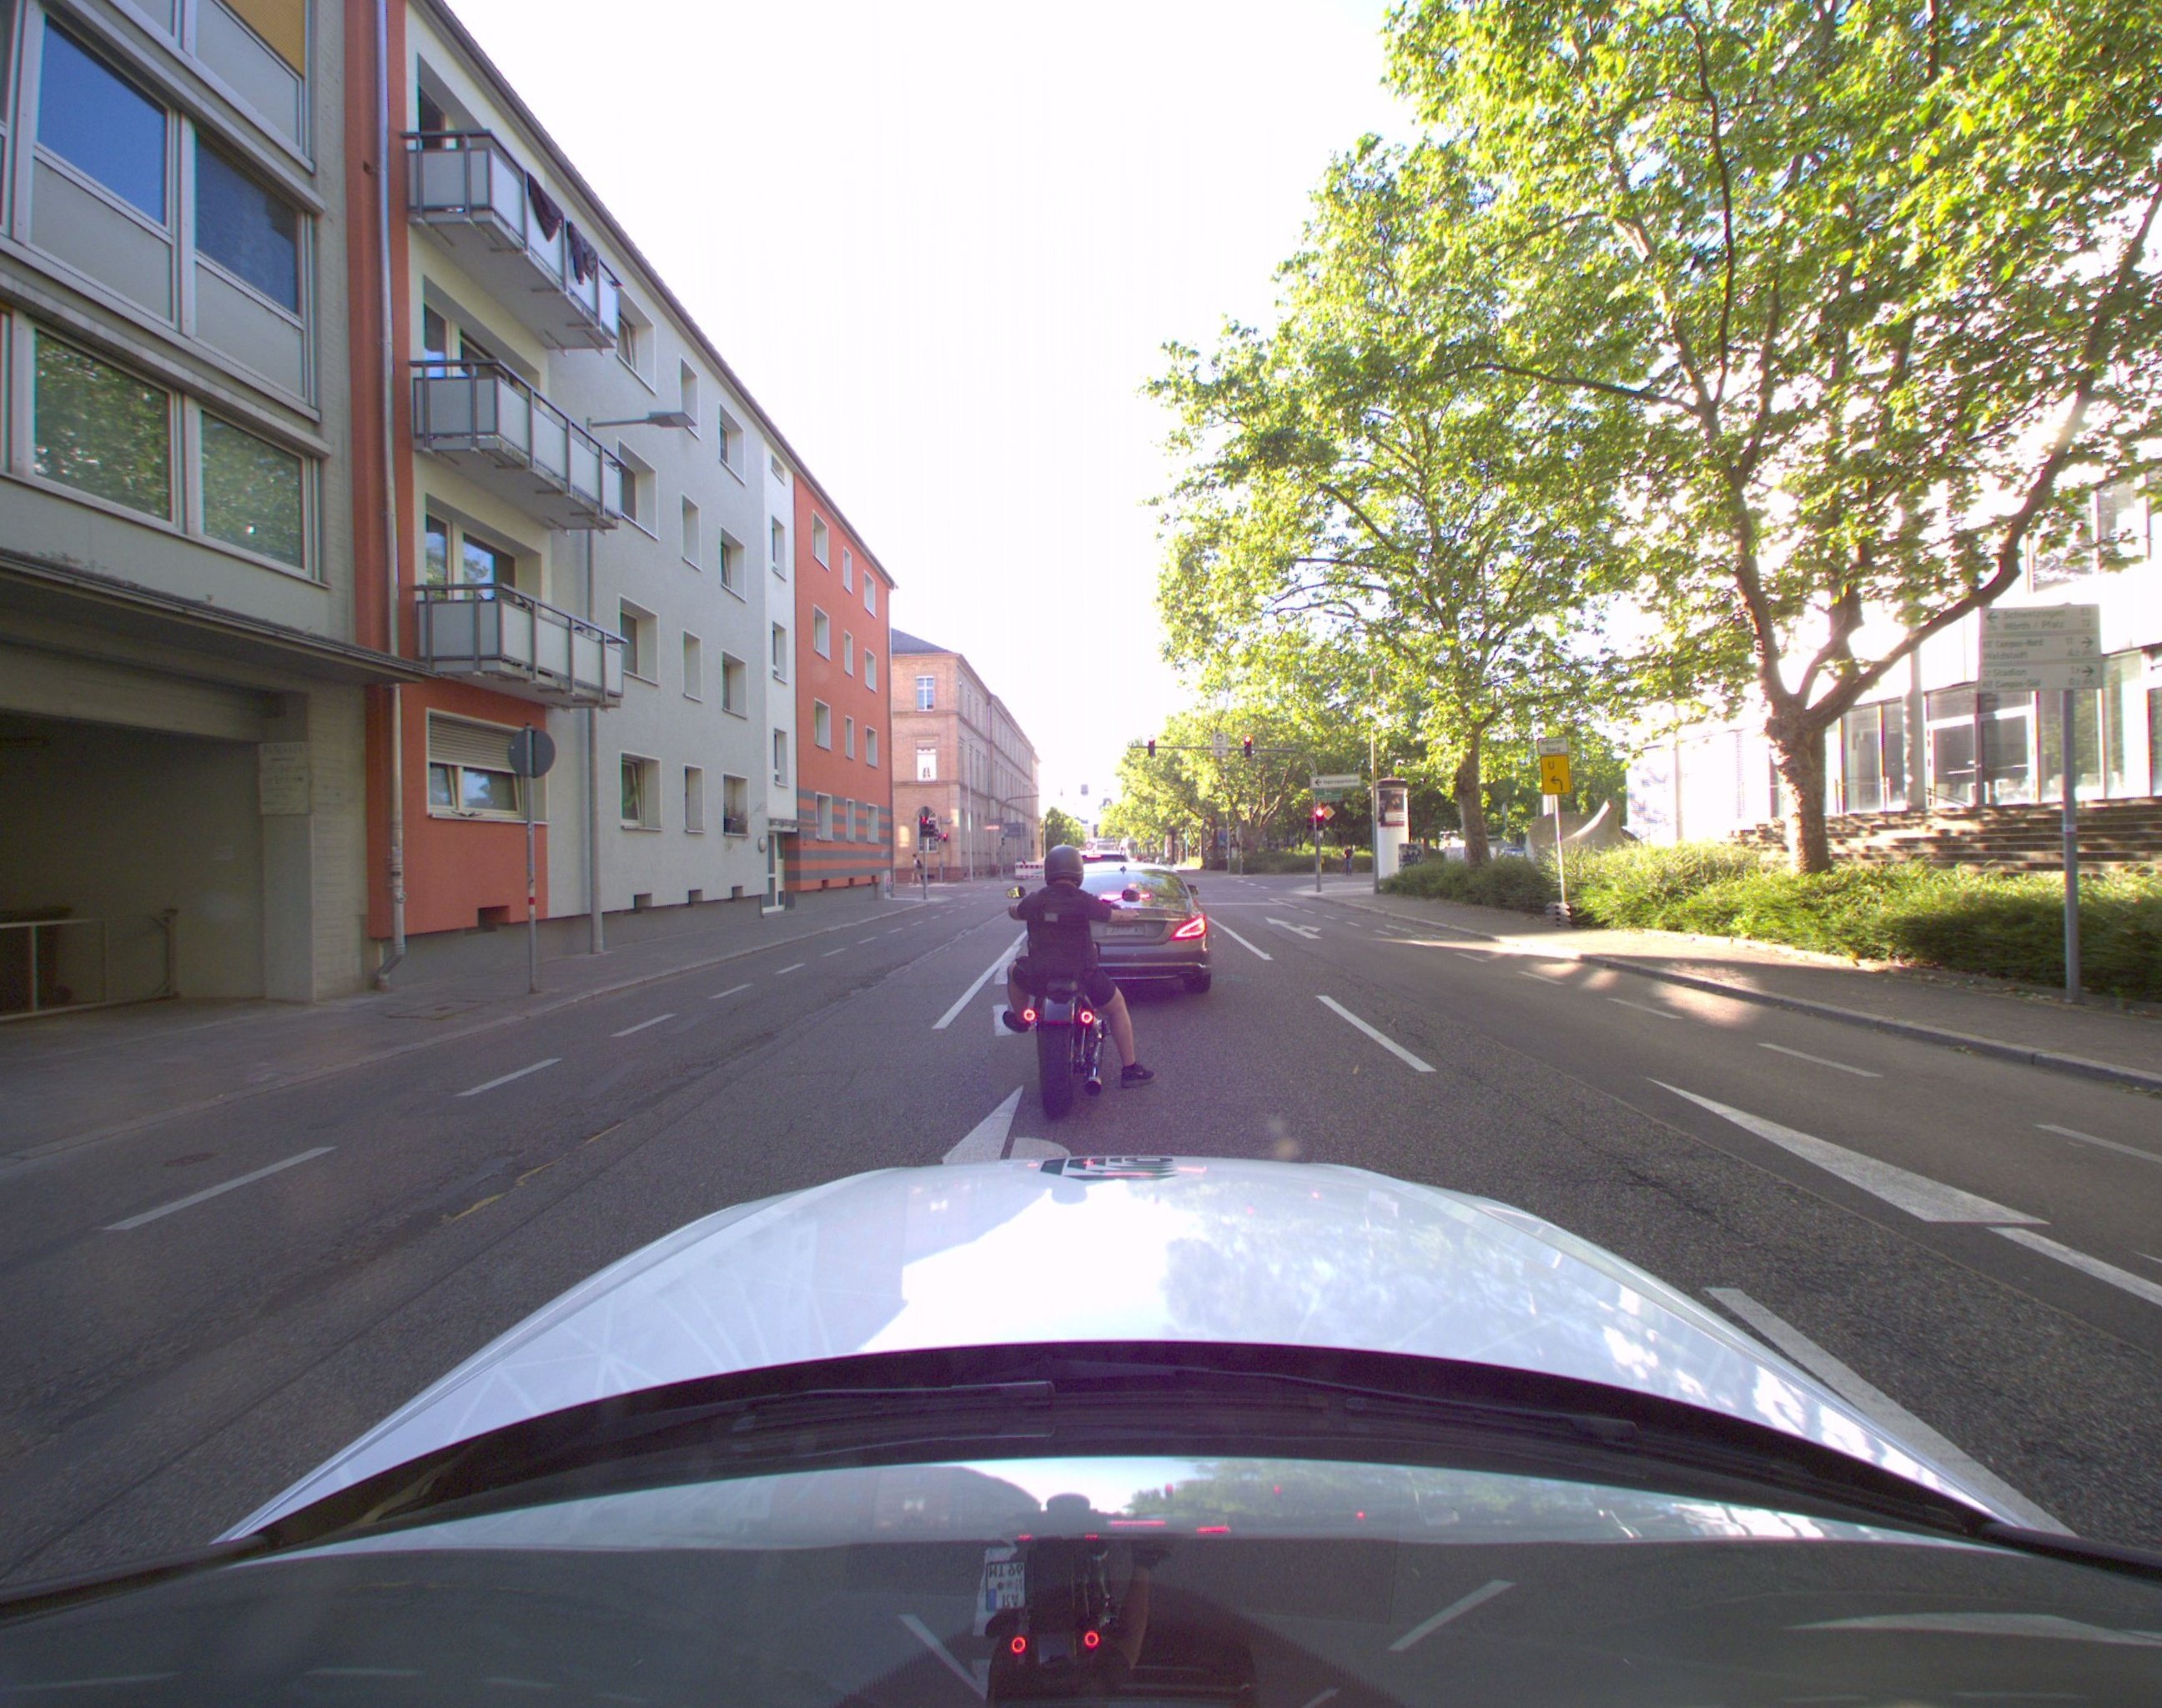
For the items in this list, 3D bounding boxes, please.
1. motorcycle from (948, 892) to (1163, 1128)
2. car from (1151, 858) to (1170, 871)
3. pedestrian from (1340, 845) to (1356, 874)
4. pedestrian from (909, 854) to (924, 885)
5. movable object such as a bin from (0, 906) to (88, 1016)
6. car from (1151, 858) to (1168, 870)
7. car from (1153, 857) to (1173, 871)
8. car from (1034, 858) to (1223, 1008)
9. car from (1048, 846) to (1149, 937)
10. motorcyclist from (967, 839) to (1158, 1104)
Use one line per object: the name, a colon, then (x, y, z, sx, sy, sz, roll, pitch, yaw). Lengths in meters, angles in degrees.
motorcycle: (-0.042, 0.912, 5.640, 1.111, 1.207, 2.217, -1, -1, 8)
car: (7.998, 1.016, 82.418, 1.625, 1.259, 3.717, 0, 0, 2)
pedestrian: (16.187, 0.345, 49.373, 0.728, 1.778, 0.734, -1, -1, 32)
pedestrian: (-9.588, 0.893, 47.438, 0.735, 1.820, 0.644, 0, -1, 1)
movable object such as a bin: (-11.285, 1.117, 8.664, 0.533, 1.079, 0.723, 0, -1, 3)
car: (8.433, 1.055, 87.653, 1.625, 1.259, 3.717, 0, 0, 2)
car: (7.665, 0.942, 76.593, 1.625, 1.259, 3.717, 0, 0, 2)
car: (0.520, 0.779, 9.797, 1.815, 1.437, 3.807, 0, -1, 2)
car: (0.380, 0.710, 17.085, 1.856, 1.678, 4.001, 0, -1, 2)
motorcyclist: (-0.070, 0.704, 5.421, 1.093, 1.566, 1.074, -1, -1, 8)
